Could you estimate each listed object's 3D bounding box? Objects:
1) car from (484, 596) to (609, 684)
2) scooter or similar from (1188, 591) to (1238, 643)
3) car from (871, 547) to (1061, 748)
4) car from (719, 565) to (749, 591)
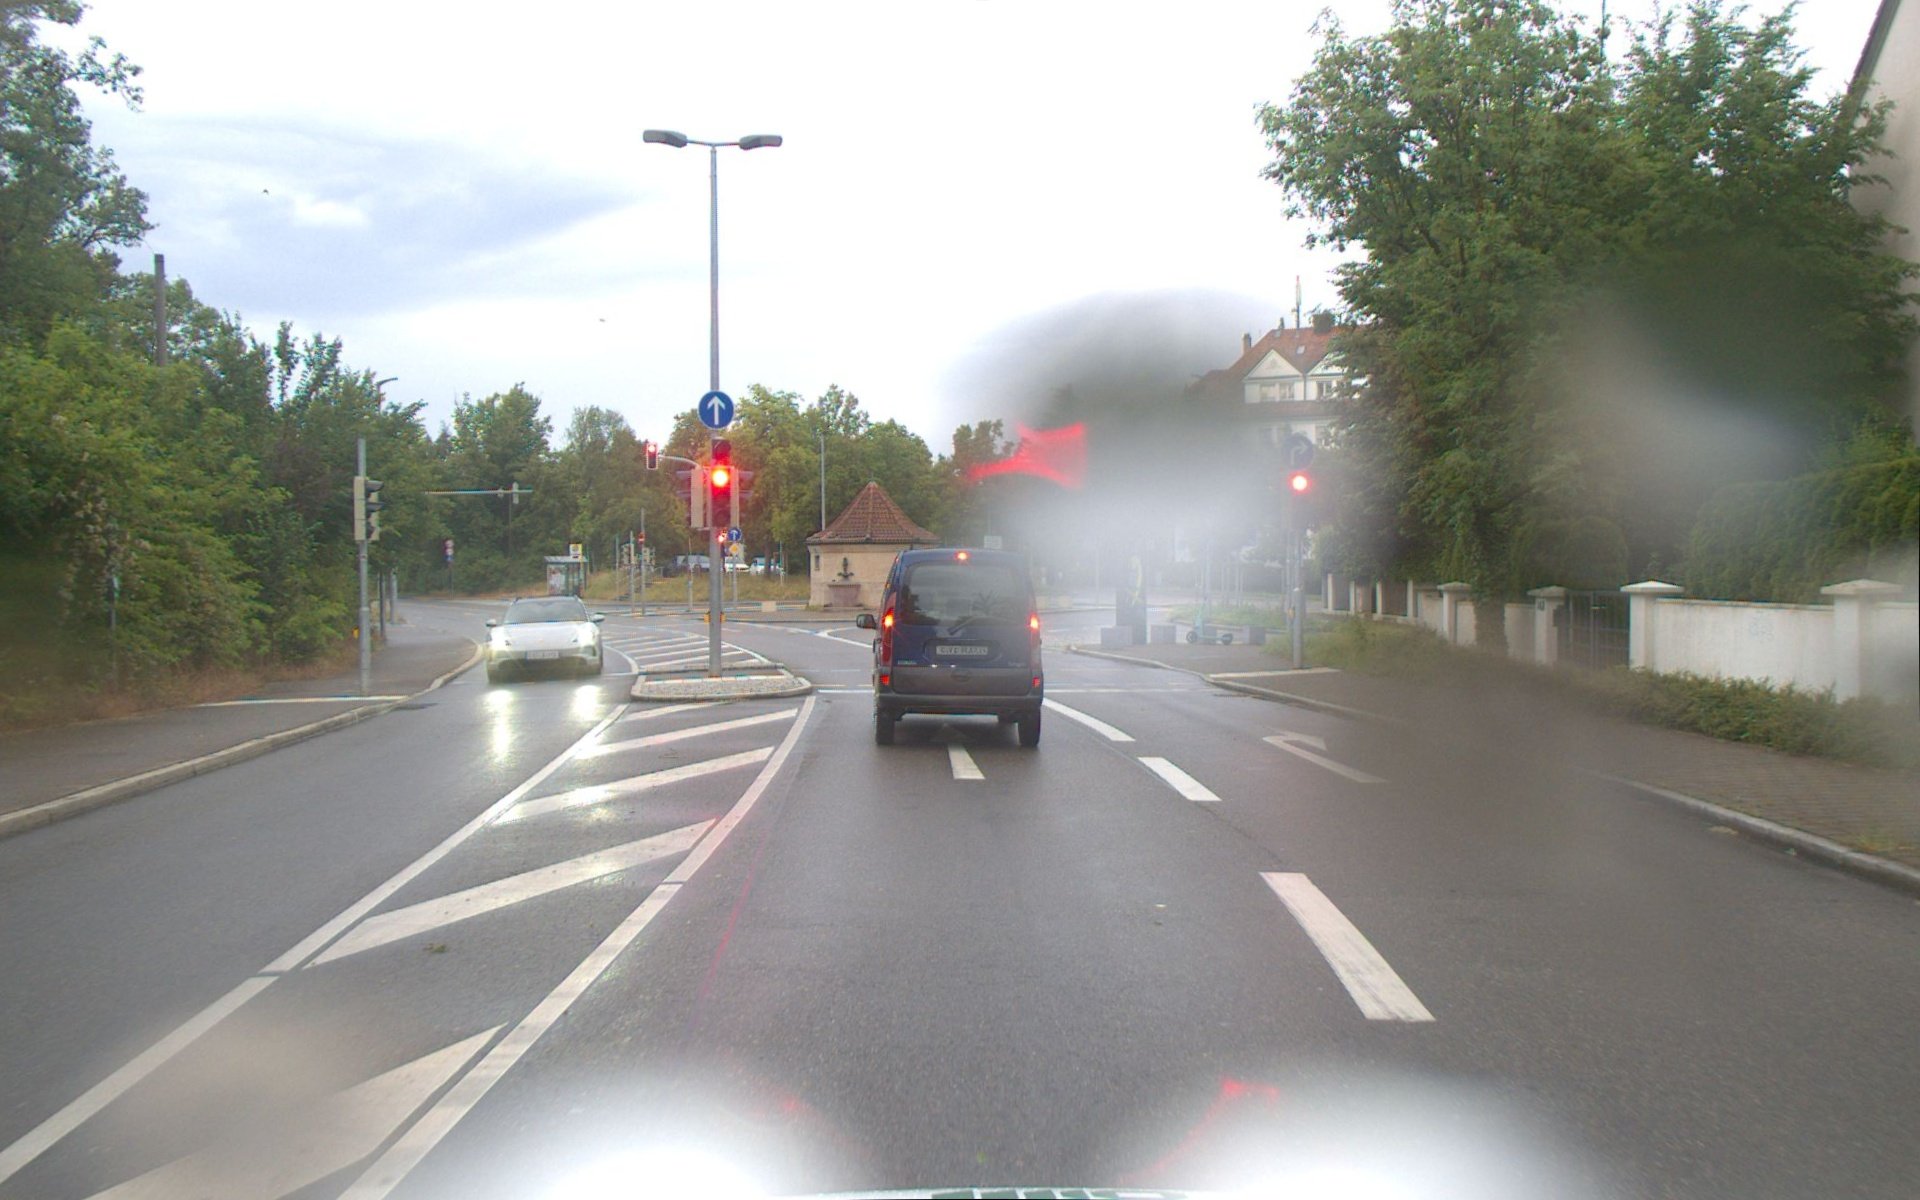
[{"bbox_3d":[-7.464,0.674,30.212,1.959,1.334,4.347,-3,1,-12],"label":"car"},{"bbox_3d":[6.140,0.408,40.124,1.126,1.240,0.405,0,-1,-3],"label":"scooter or similar"},{"bbox_3d":[-0.050,0.411,17.036,1.697,1.817,3.997,0,1,-4],"label":"car"},{"bbox_3d":[-16.554,-1.589,121.272,1.955,1.844,3.995,0,0,-5],"label":"car"}]
